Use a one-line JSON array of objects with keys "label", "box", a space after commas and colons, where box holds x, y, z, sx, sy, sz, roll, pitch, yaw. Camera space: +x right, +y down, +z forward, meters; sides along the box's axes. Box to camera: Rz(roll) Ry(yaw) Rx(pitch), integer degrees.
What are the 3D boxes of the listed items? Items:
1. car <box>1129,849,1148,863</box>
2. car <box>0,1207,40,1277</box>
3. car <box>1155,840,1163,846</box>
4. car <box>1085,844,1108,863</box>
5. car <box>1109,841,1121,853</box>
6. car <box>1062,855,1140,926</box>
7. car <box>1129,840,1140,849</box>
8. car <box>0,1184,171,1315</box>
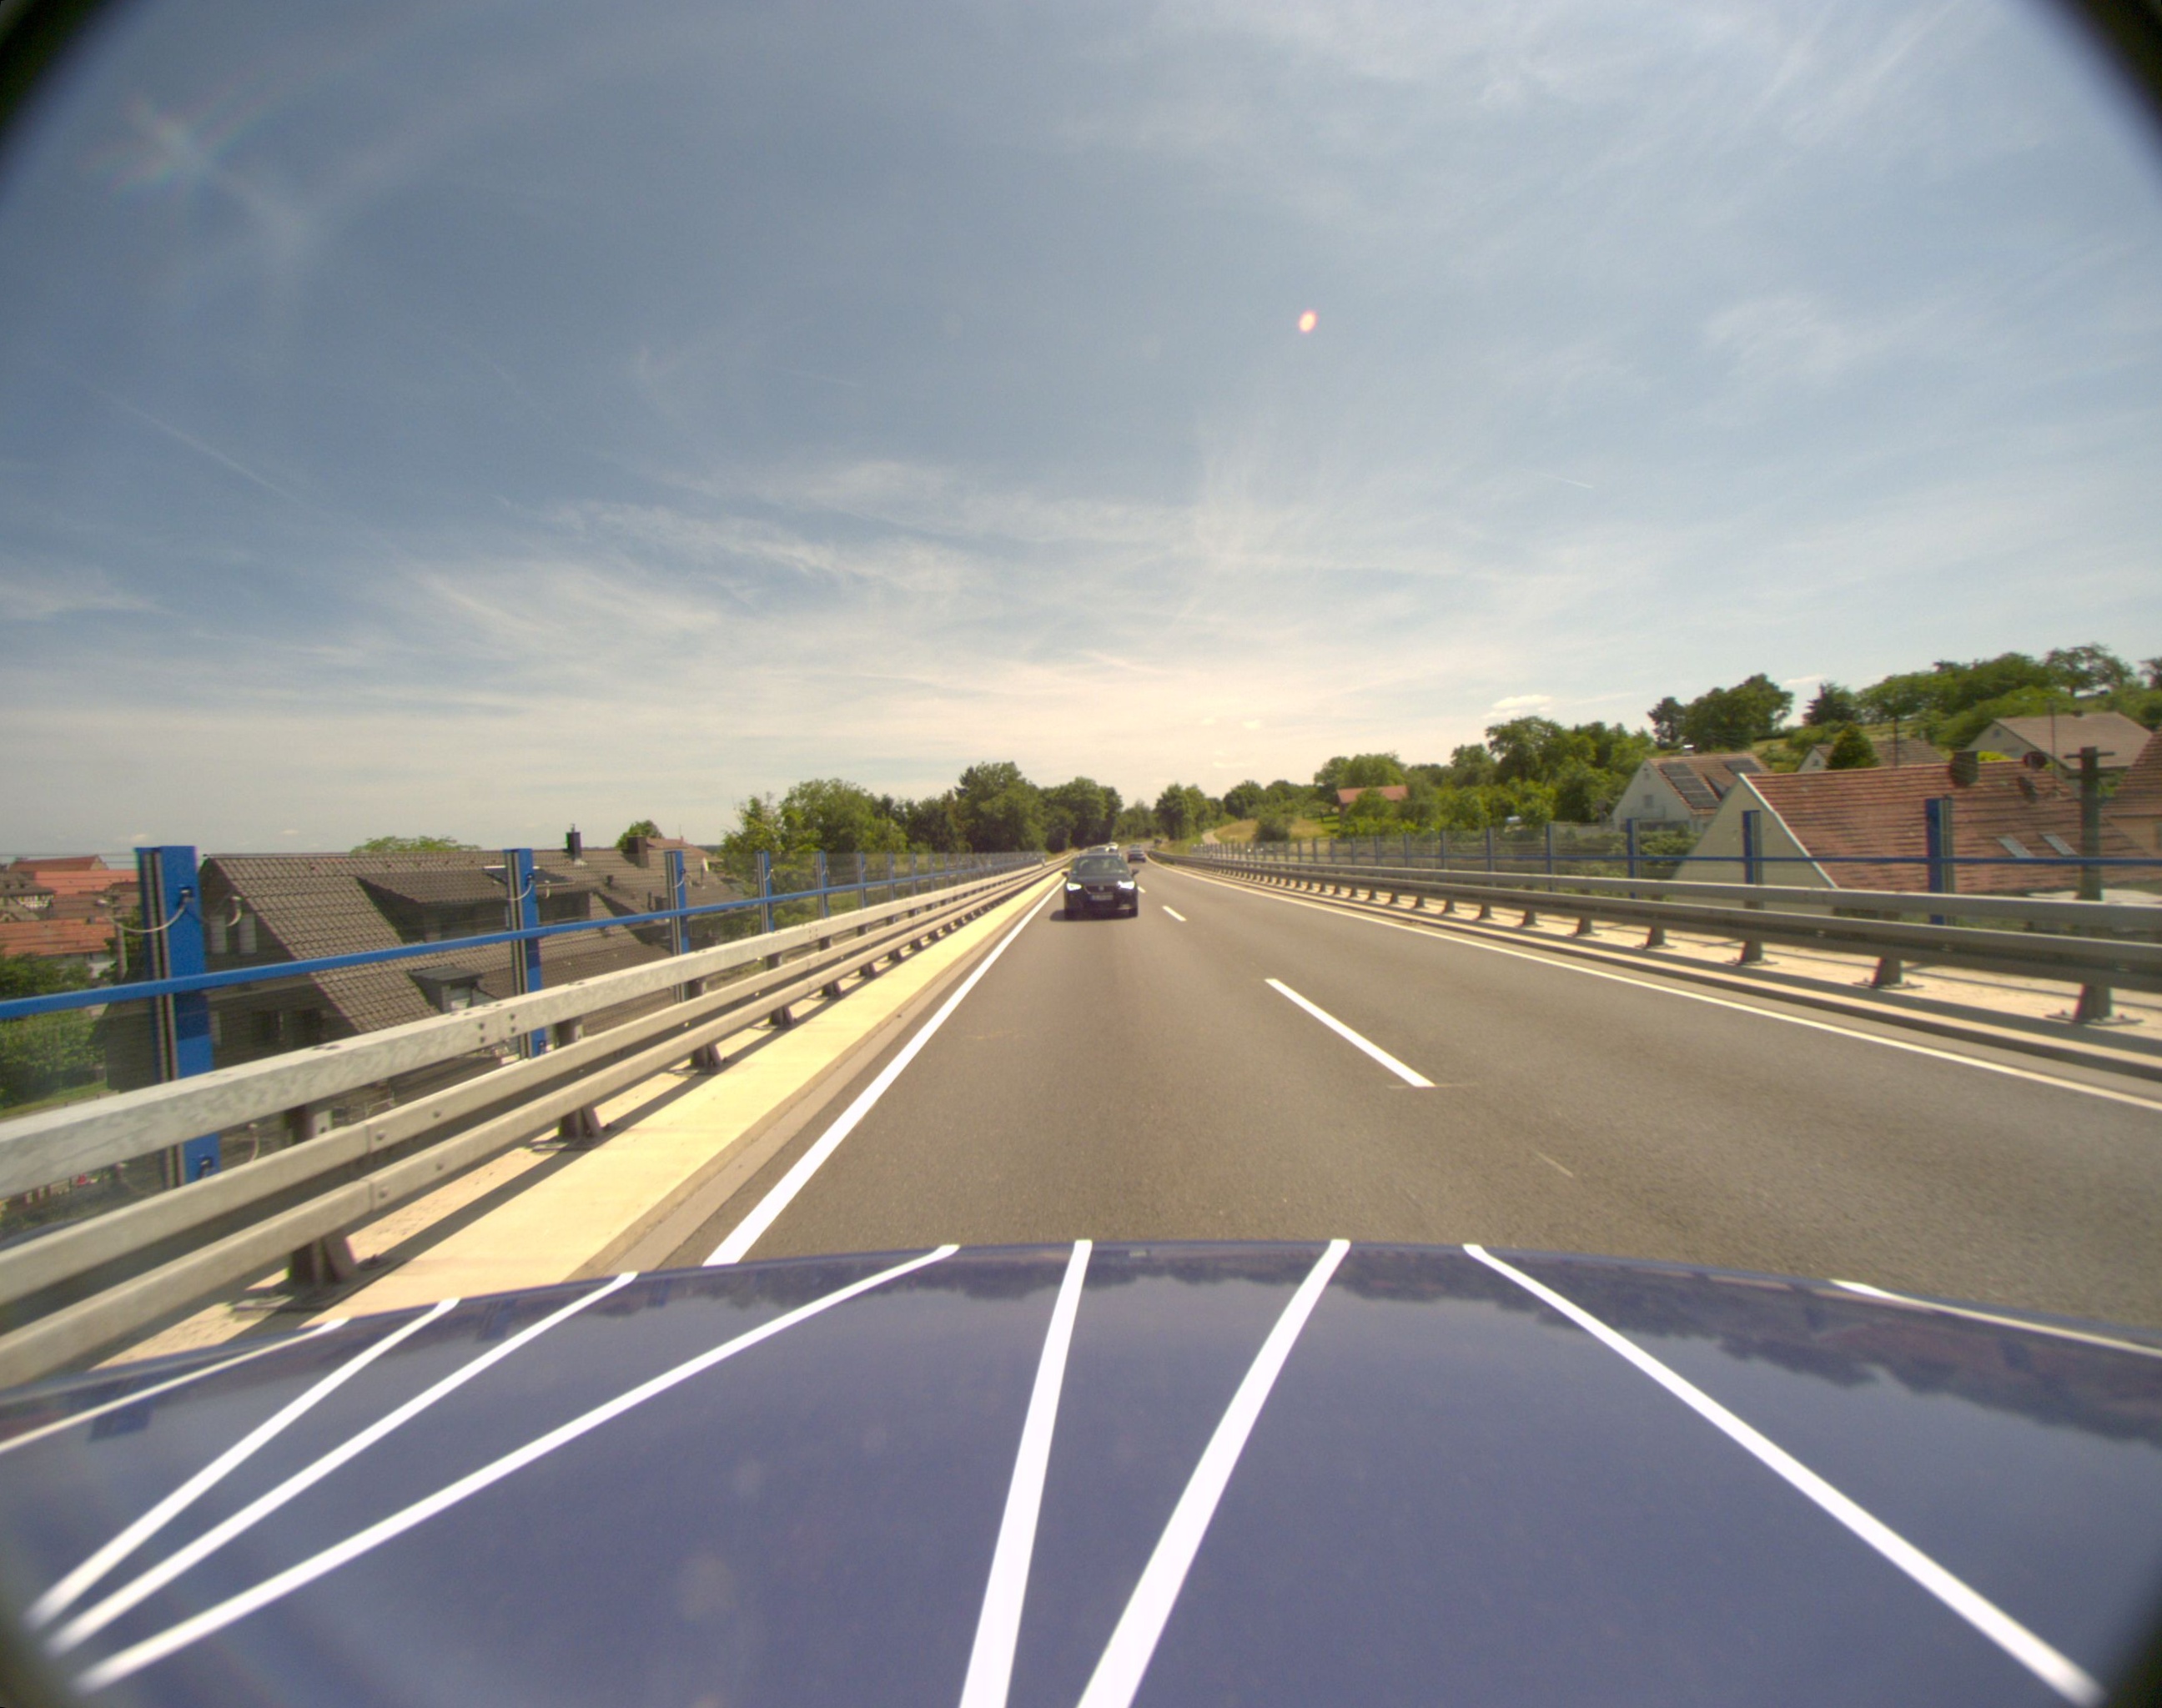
[{"label": "car", "box": [5.981, 0.184, 79.041, 1.785, 1.427, 4.834, -1, 1, 2]}, {"label": "car", "box": [-28.442, 10.322, 18.553, 1.729, 1.359, 3.993, -10, 1, -25]}, {"label": "car", "box": [20.274, -2.802, 197.711, 1.810, 1.580, 4.381, -1, 1, 8]}, {"label": "car", "box": [1.436, -0.056, 70.262, 1.883, 1.698, 4.000, -1, 1, 4]}, {"label": "car", "box": [6.134, -1.328, 137.090, 1.998, 2.002, 4.000, -2, 2, 4]}, {"label": "car", "box": [0.478, 0.823, 19.014, 1.737, 1.467, 3.999, -1, 1, 1]}, {"label": "car", "box": [9.659, -1.700, 136.965, 1.711, 1.496, 4.118, -1, 1, 1]}, {"label": "car", "box": [-25.661, 9.984, 19.209, 1.729, 1.359, 3.993, -10, 1, -25]}]
